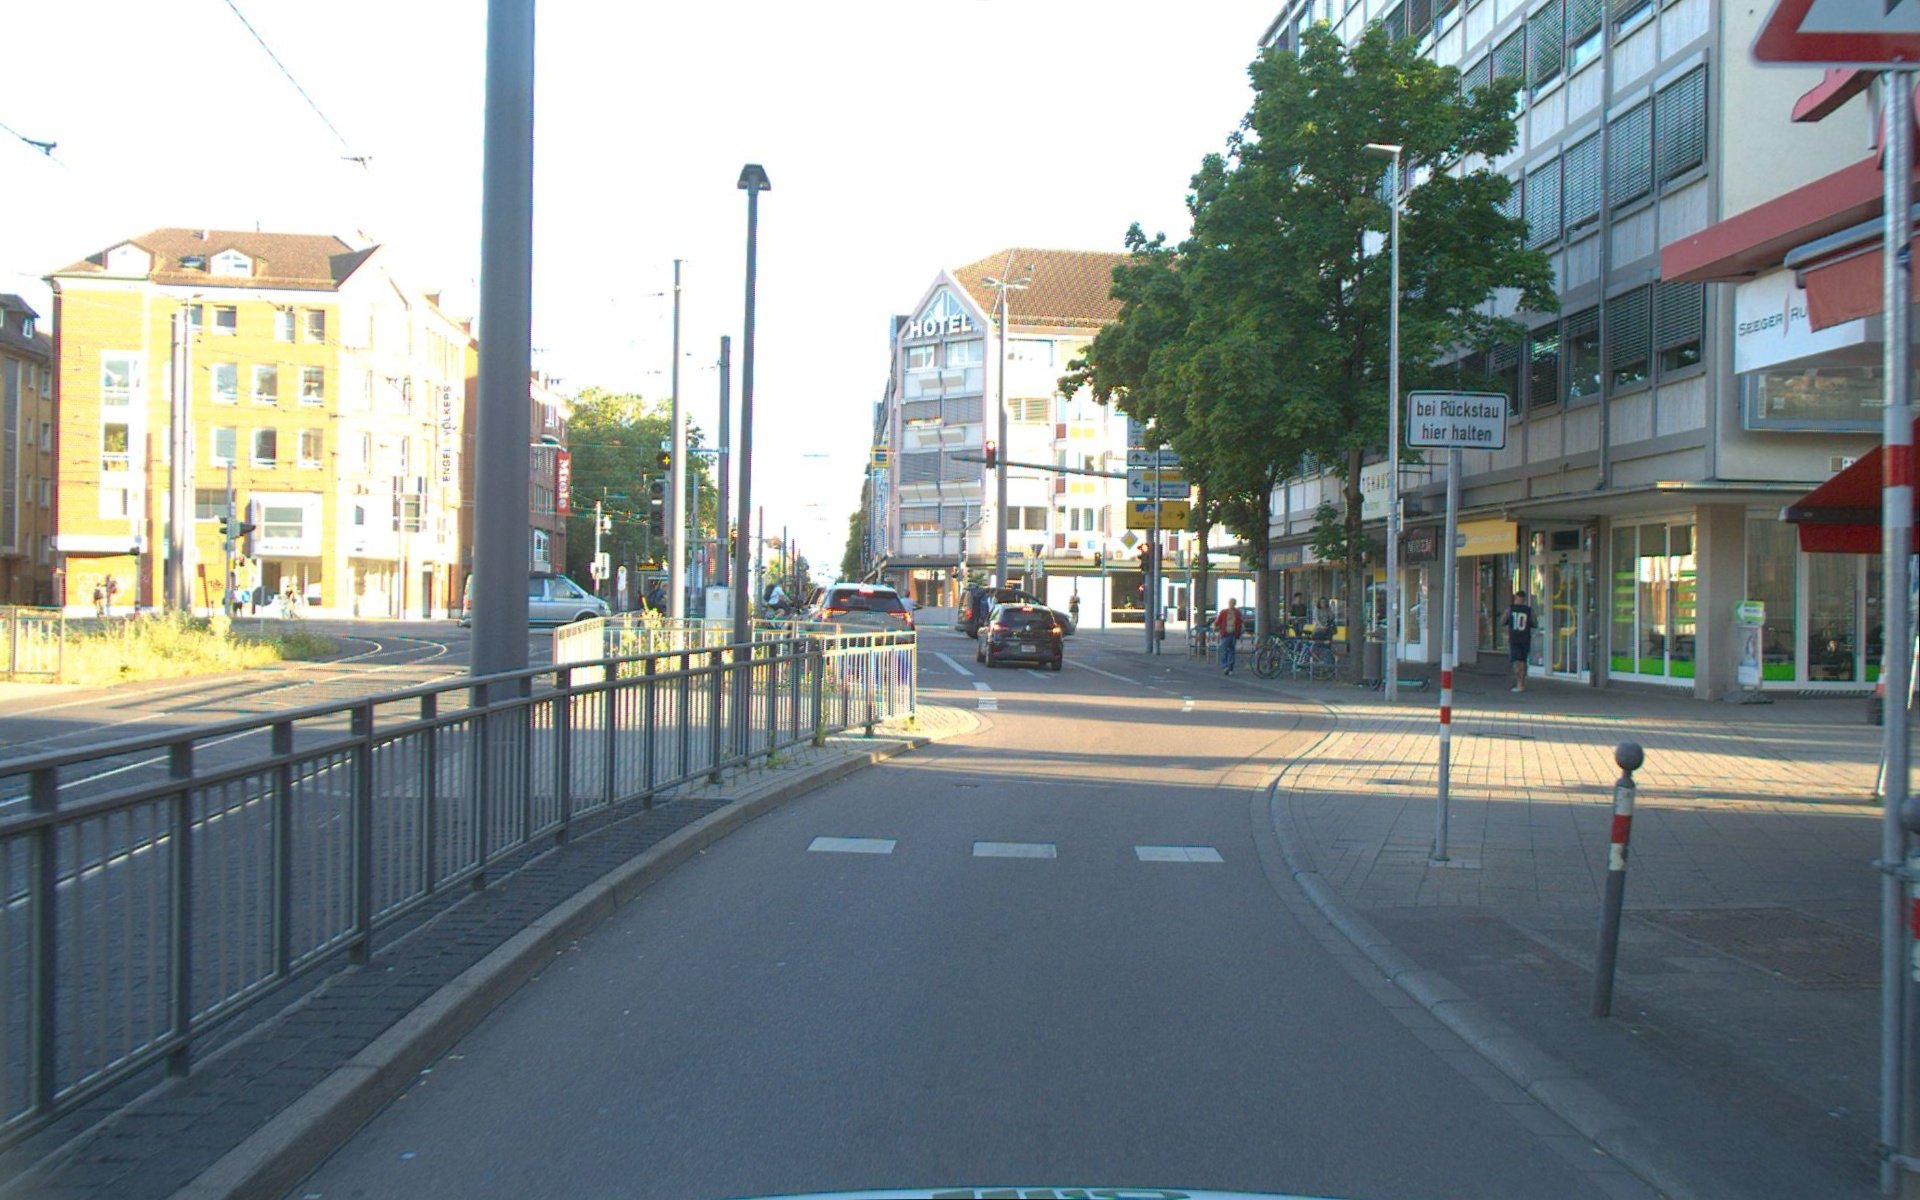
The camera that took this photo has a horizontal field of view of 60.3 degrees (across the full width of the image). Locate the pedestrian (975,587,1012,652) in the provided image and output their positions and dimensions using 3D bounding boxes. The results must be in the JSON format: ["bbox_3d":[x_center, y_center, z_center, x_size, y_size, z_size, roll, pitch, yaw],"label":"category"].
[{"bbox_3d":[0.977,0.581,49.041,0.975,1.862,0.728,2,-1,-4],"label":"pedestrian"}]

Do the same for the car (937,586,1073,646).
[{"bbox_3d":[1.608,0.566,59.100,4.487,2.072,1.991,1,0,-17],"label":"car"}]

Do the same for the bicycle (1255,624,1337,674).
[{"bbox_3d":[7.048,1.023,34.709,1.623,0.991,0.386,2,-1,2],"label":"bicycle"}]

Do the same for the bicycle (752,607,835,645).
[{"bbox_3d":[-5.349,0.837,53.045,2.592,1.119,0.434,2,-1,-11],"label":"bicycle"}]

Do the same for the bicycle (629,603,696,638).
[{"bbox_3d":[-9.221,0.639,51.269,1.999,1.046,0.416,1,0,-10],"label":"bicycle"}]

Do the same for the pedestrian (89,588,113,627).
[{"bbox_3d":[-40.085,0.340,77.201,0.674,1.773,0.668,1,-2,18],"label":"pedestrian"}]

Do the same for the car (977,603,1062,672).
[{"bbox_3d":[1.323,0.816,38.230,1.728,1.465,3.999,0,0,-1],"label":"car"}]

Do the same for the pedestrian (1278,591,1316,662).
[{"bbox_3d":[8.885,0.692,43.610,0.731,1.809,0.799,2,-1,-4],"label":"pedestrian"}]

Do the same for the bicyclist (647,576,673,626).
[{"bbox_3d":[-9.292,0.034,51.245,0.694,1.538,0.546,-1,0,-21],"label":"bicyclist"}]

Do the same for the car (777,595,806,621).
[{"bbox_3d":[-11.980,0.553,117.772,1.775,1.777,3.712,2,-1,-3],"label":"car"}]

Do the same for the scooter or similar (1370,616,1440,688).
[{"bbox_3d":[7.855,0.911,29.208,1.199,1.239,0.293,-1,-3,42],"label":"scooter or similar"}]

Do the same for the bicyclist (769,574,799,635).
[{"bbox_3d":[-5.638,0.135,52.955,0.845,1.911,0.645,2,-1,-11],"label":"bicyclist"}]

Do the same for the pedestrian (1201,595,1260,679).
[{"bbox_3d":[5.745,0.776,35.139,0.811,1.714,1.043,2,-1,-18],"label":"pedestrian"}]

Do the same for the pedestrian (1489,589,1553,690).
[{"bbox_3d":[9.834,0.683,29.021,0.731,1.713,0.894,2,-1,-3],"label":"pedestrian"}]

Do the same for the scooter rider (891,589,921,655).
[{"bbox_3d":[-1.395,0.561,43.032,0.648,1.676,0.661,2,-1,4],"label":"scooter rider"}]

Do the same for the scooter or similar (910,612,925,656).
[{"bbox_3d":[-1.103,0.872,43.111,0.273,1.110,1.257,2,-1,2],"label":"scooter or similar"}]

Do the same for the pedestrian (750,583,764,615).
[{"bbox_3d":[-11.919,-0.069,97.060,0.687,1.855,0.807,2,-1,-3],"label":"pedestrian"}]

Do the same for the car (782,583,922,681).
[{"bbox_3d":[-2.070,0.549,30.595,1.805,1.665,4.074,1,0,-15],"label":"car"}]

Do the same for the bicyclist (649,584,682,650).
[{"bbox_3d":[-9.268,0.532,52.044,0.849,2.049,0.642,3,-1,-24],"label":"bicyclist"}]

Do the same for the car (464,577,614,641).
[{"bbox_3d":[-13.817,0.291,54.235,4.615,2.049,1.988,0,0,-21],"label":"car"}]

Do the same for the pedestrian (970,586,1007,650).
[{"bbox_3d":[0.854,0.548,49.819,0.975,1.862,0.728,2,-1,-3],"label":"pedestrian"}]

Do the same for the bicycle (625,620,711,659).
[{"bbox_3d":[-9.175,1.253,52.073,2.605,1.119,0.432,3,-1,-24],"label":"bicycle"}]

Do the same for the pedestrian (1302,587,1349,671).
[{"bbox_3d":[8.162,0.647,36.940,0.731,1.809,0.972,2,-1,-3],"label":"pedestrian"}]

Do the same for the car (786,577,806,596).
[{"bbox_3d":[-18.195,-1.465,183.906,1.954,1.934,3.997,2,-1,-3],"label":"car"}]

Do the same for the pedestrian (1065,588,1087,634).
[{"bbox_3d":[4.722,0.457,67.317,0.731,1.809,0.800,2,-1,-2],"label":"pedestrian"}]

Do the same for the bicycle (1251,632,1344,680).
[{"bbox_3d":[6.878,1.141,33.741,1.780,0.907,0.415,2,-1,2],"label":"bicycle"}]
